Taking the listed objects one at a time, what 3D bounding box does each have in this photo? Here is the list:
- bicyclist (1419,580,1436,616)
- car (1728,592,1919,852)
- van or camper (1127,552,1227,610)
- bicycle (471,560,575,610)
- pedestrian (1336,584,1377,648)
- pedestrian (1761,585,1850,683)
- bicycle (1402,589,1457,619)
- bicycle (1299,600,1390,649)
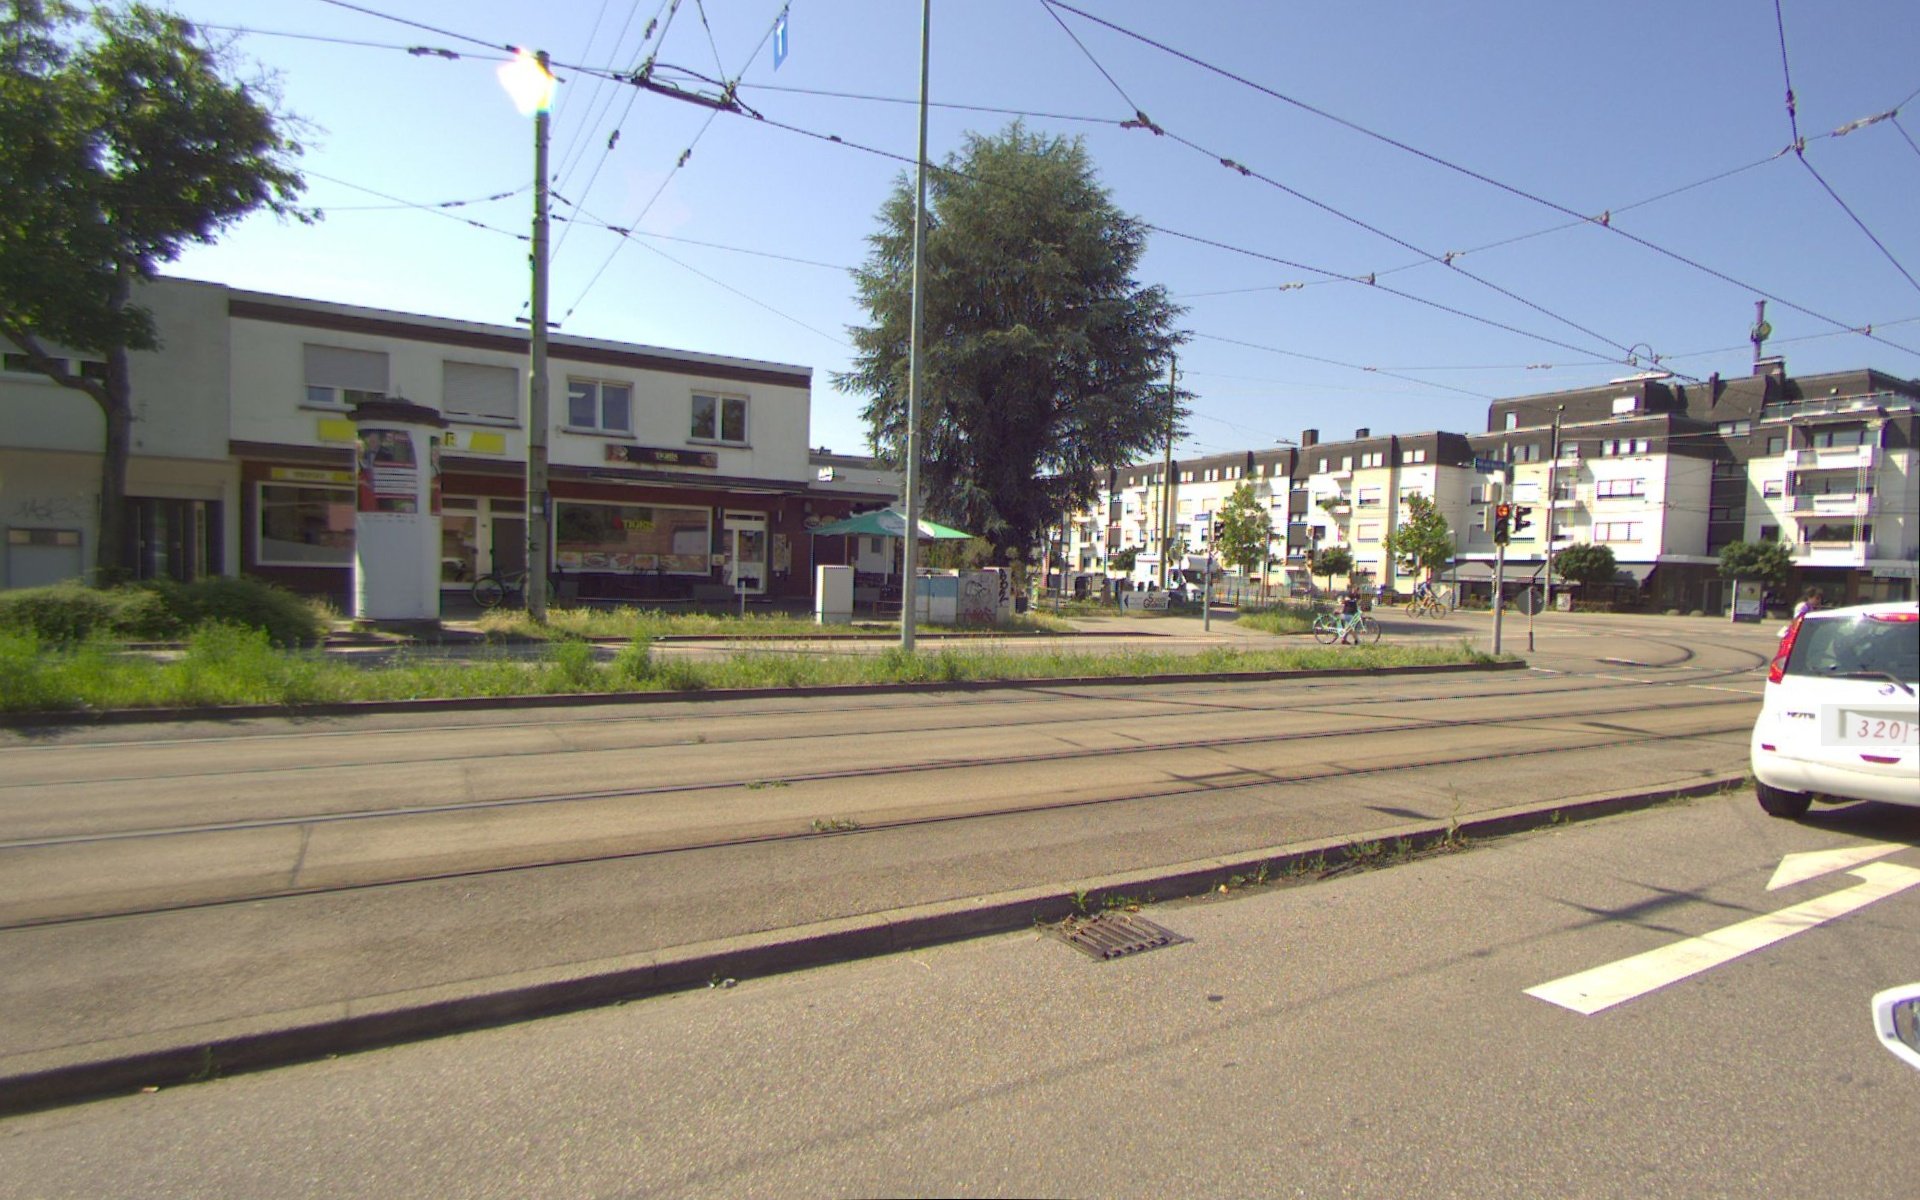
[{"bbox_3d":[21.568,-0.078,46.300,0.627,1.634,0.562,2,0,31],"label":"bicyclist"},{"bbox_3d":[7.404,0.745,7.273,3.759,1.587,1.634,0,1,-31],"label":"car"},{"bbox_3d":[12.638,-1.063,58.922,2.545,3.133,5.656,2,0,-30],"label":"van or camper"},{"bbox_3d":[-10.871,-0.354,25.001,2.306,1.167,0.783,1,0,-30],"label":"bicycle"},{"bbox_3d":[10.163,0.397,25.749,0.671,1.593,0.738,0,2,-44],"label":"pedestrian"},{"bbox_3d":[14.962,0.594,17.777,0.946,1.673,0.965,2,0,-34],"label":"pedestrian"},{"bbox_3d":[21.620,0.182,46.262,2.209,1.314,0.559,1,0,30],"label":"bicycle"},{"bbox_3d":[9.670,0.597,25.298,0.705,1.105,1.999,0,2,-44],"label":"bicycle"}]
